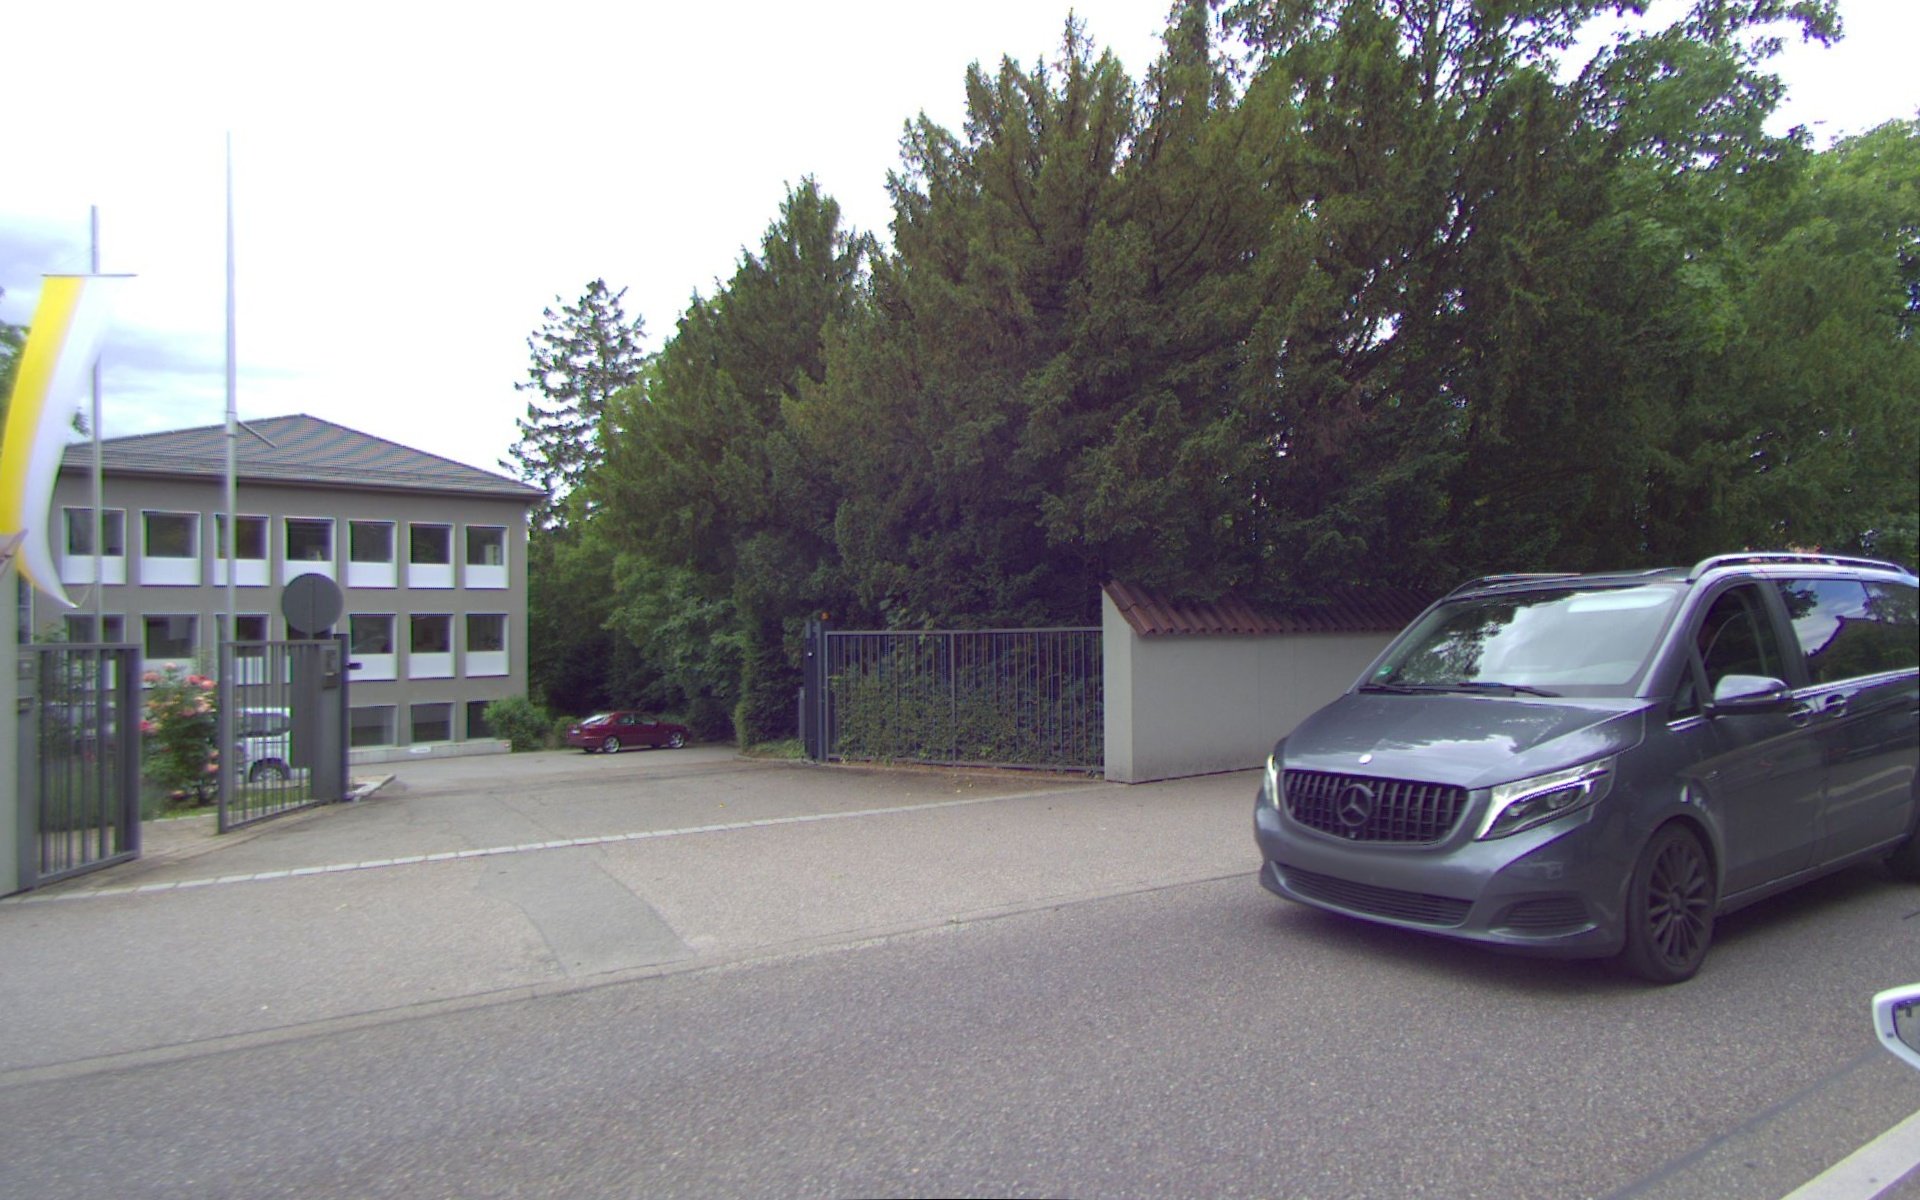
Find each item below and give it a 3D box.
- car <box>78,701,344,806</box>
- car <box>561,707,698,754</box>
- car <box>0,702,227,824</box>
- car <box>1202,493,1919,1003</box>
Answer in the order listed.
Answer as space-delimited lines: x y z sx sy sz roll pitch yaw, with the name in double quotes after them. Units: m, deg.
-15.655 3.168 21.262 4.081 1.828 1.878 -1 -4 -17 "car"
-12.081 4.748 36.957 1.838 1.408 4.533 -4 -5 40 "car"
-13.215 2.355 14.577 3.795 1.525 1.645 -1 -4 -17 "car"
3.943 0.640 5.850 5.025 1.879 1.882 1 -5 -31 "car"
